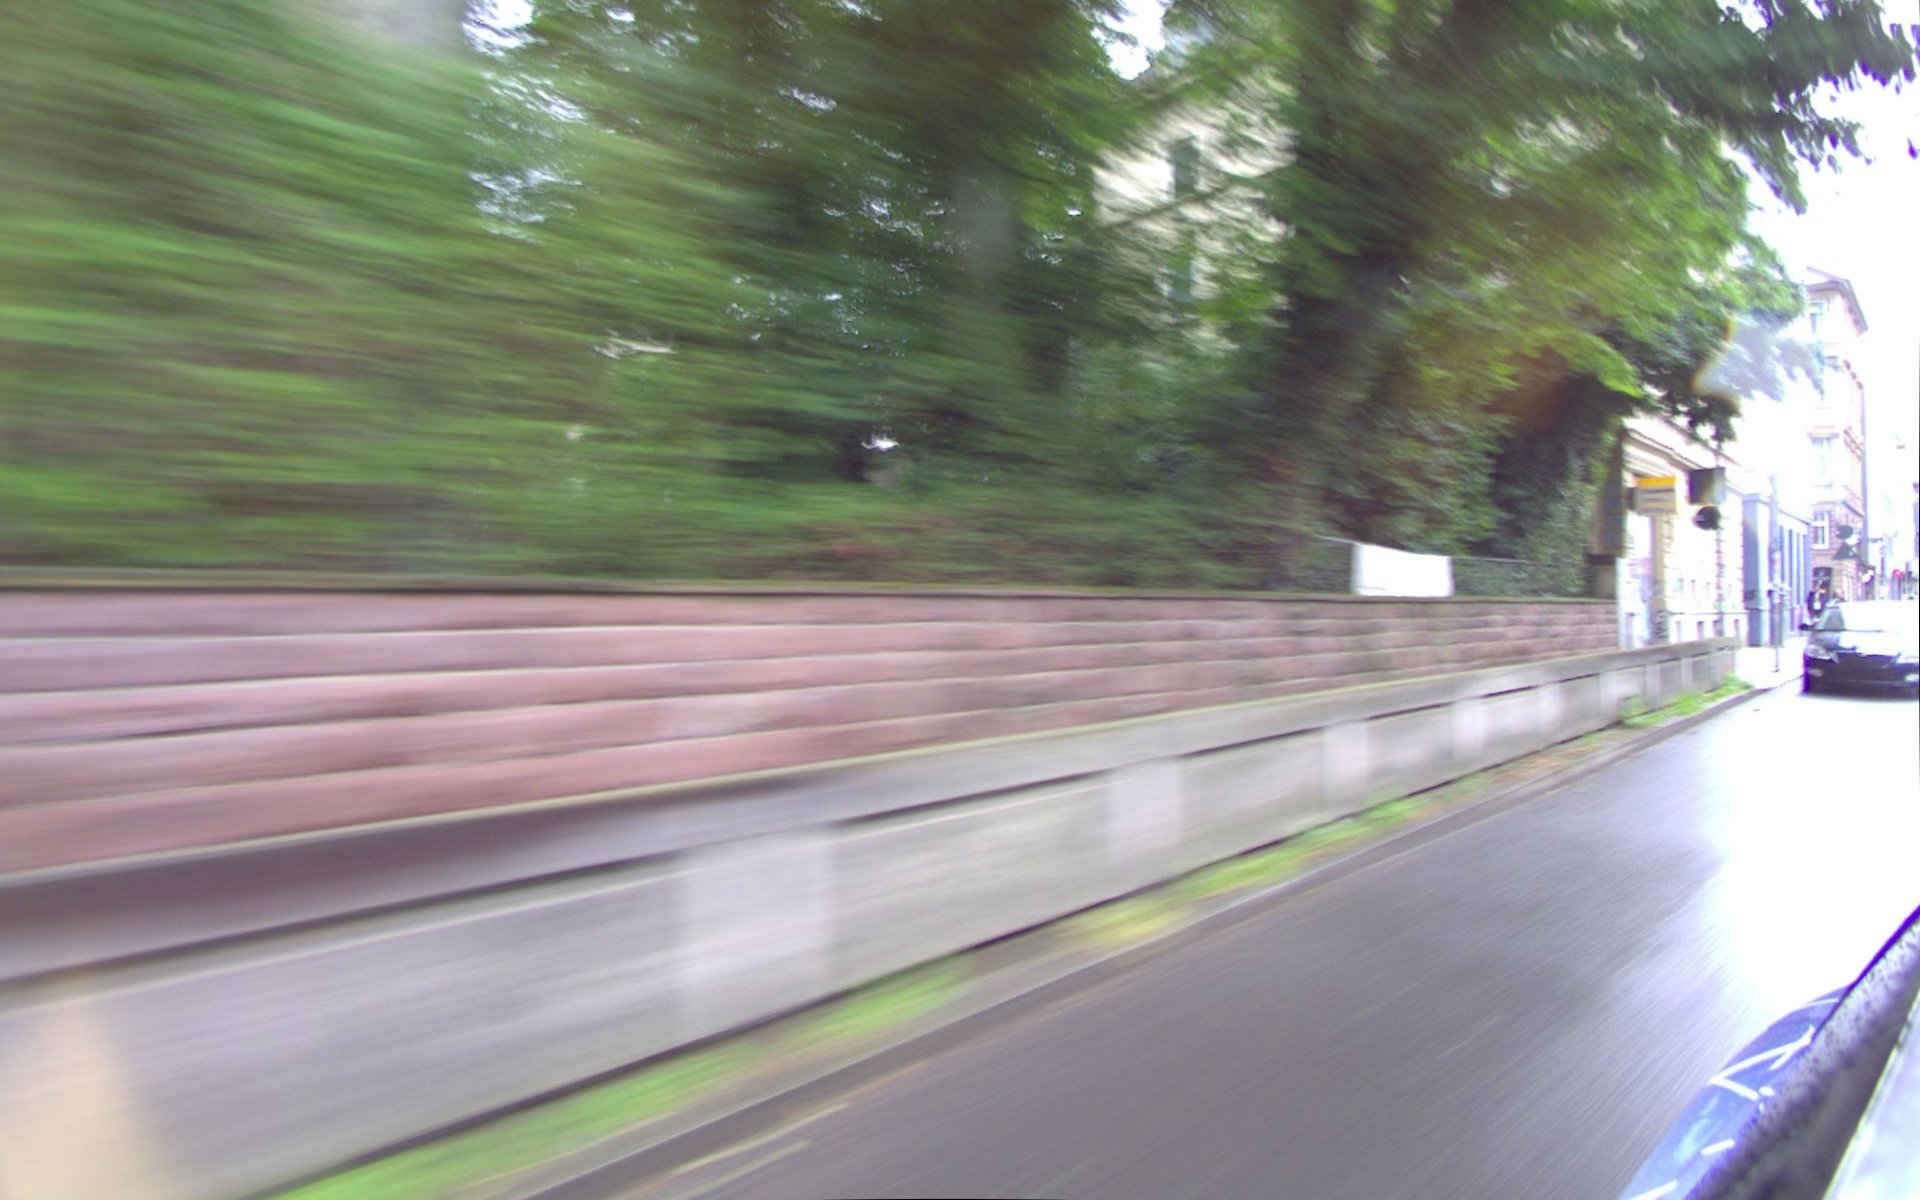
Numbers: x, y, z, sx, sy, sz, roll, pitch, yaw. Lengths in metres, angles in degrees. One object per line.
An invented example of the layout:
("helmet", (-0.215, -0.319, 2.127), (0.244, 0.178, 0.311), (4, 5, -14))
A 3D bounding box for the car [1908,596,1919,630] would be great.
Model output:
("car", (51.544, 0.648, 53.401), (4.056, 1.705, 1.995), (-1, 0, -44))

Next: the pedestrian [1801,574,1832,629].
("pedestrian", (30.743, 0.060, 36.323), (0.763, 1.938, 0.578), (-2, -1, 44))

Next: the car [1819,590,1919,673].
("car", (19.268, 0.588, 21.126), (1.755, 1.549, 4.265), (-2, 0, 44))

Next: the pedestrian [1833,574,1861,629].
("pedestrian", (31.387, 0.057, 35.807), (0.714, 1.914, 0.590), (-1, -1, 44))

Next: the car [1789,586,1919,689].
("car", (15.608, 0.563, 17.257), (4.174, 1.549, 1.784), (-1, 0, -44))
